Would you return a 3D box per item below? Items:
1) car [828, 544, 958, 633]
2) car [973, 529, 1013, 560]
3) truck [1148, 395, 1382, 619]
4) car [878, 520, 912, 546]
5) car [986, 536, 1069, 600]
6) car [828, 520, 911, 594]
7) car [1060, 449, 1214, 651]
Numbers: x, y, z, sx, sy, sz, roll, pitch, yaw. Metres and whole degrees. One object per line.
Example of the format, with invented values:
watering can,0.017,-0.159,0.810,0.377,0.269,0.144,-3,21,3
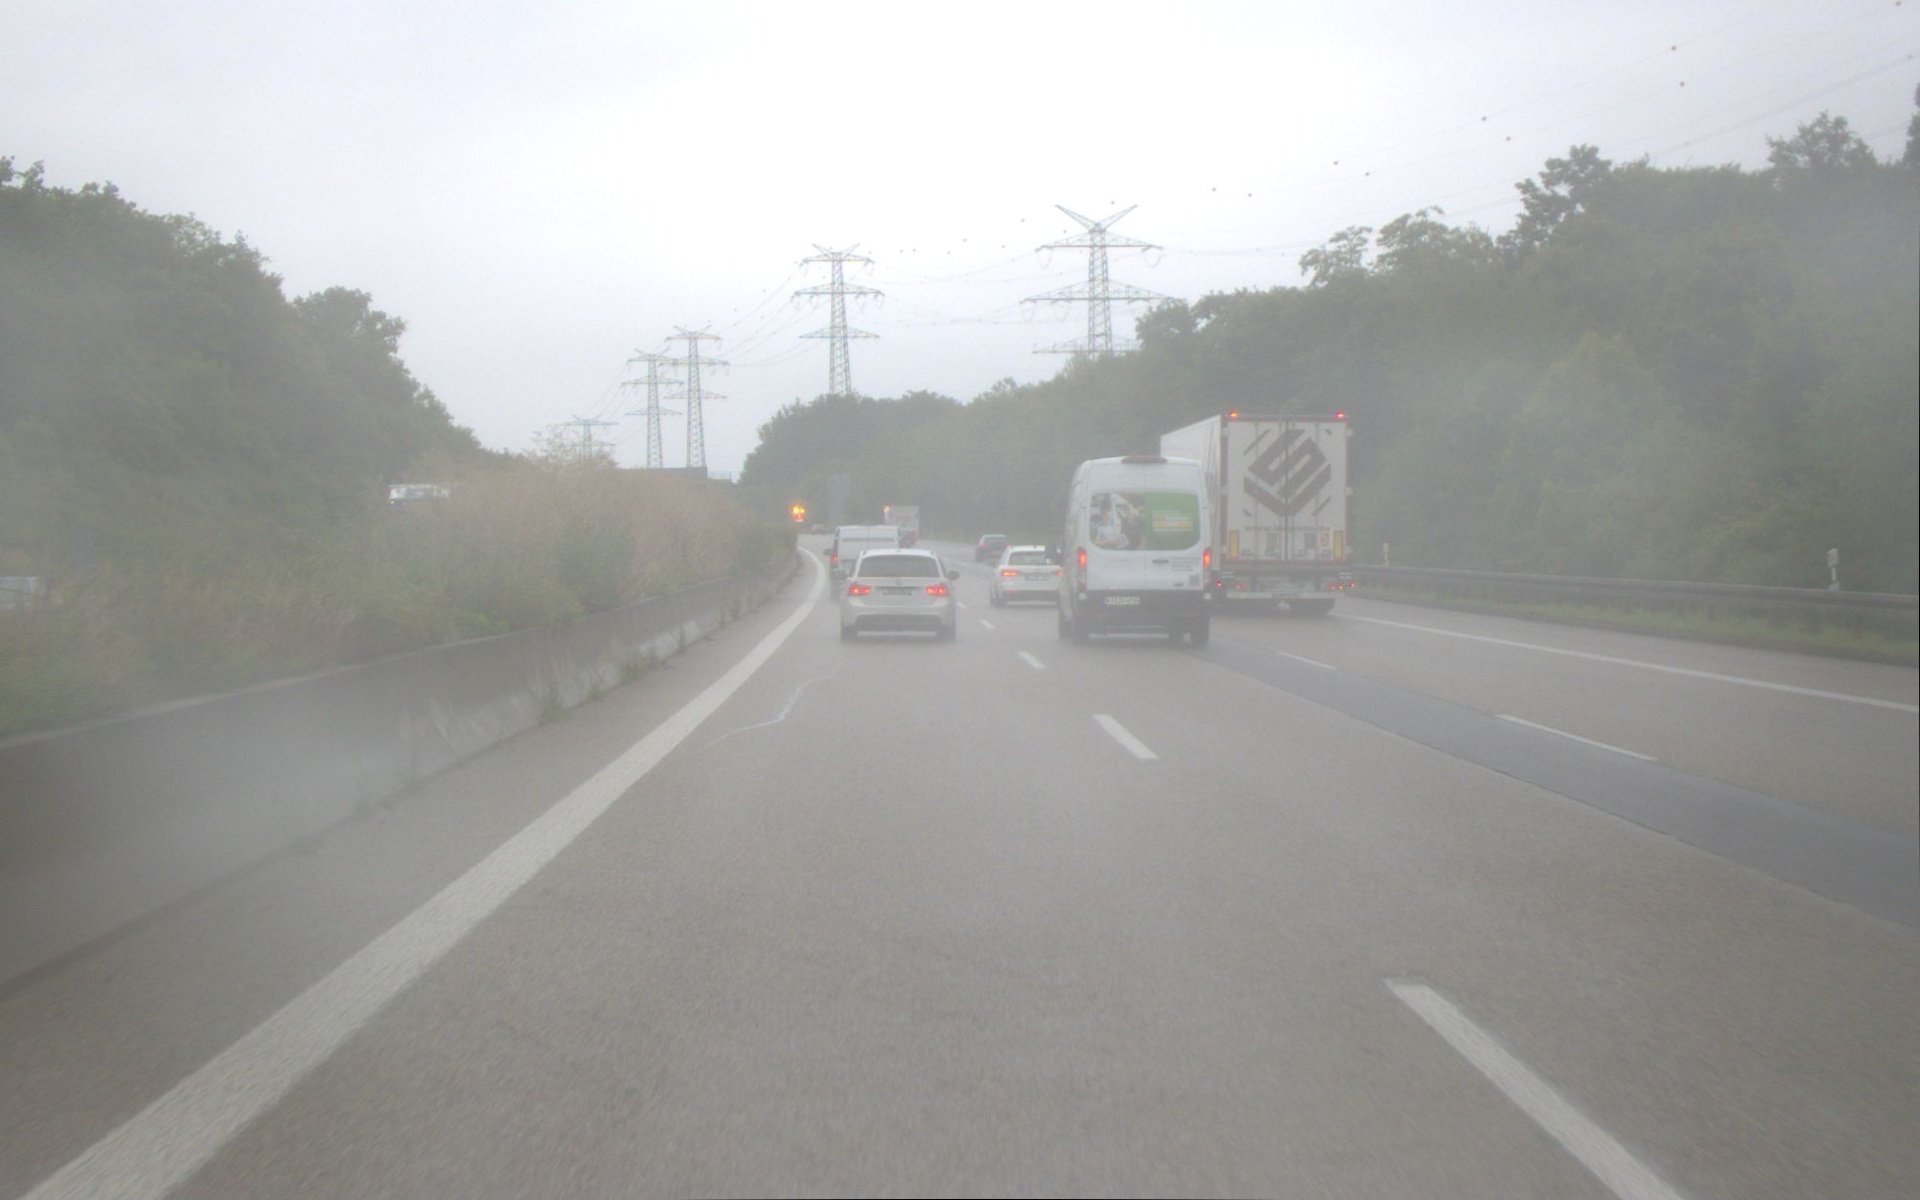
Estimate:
car,-1.000,-0.208,53.496,1.866,1.284,4.000,-1,1,1
car,1.703,-2.866,178.071,1.993,1.481,4.000,-3,1,0
truck,6.299,-1.897,73.567,3.603,4.317,13.200,-1,1,-1
car,-4.127,-4.275,219.291,1.993,1.568,4.000,-2,0,1
car,1.563,-0.743,78.627,1.857,1.418,4.000,0,1,2
car,-2.215,-1.073,84.908,1.846,1.766,4.000,-1,1,1
car,2.596,-0.755,51.220,1.993,2.854,4.000,-1,1,-1
